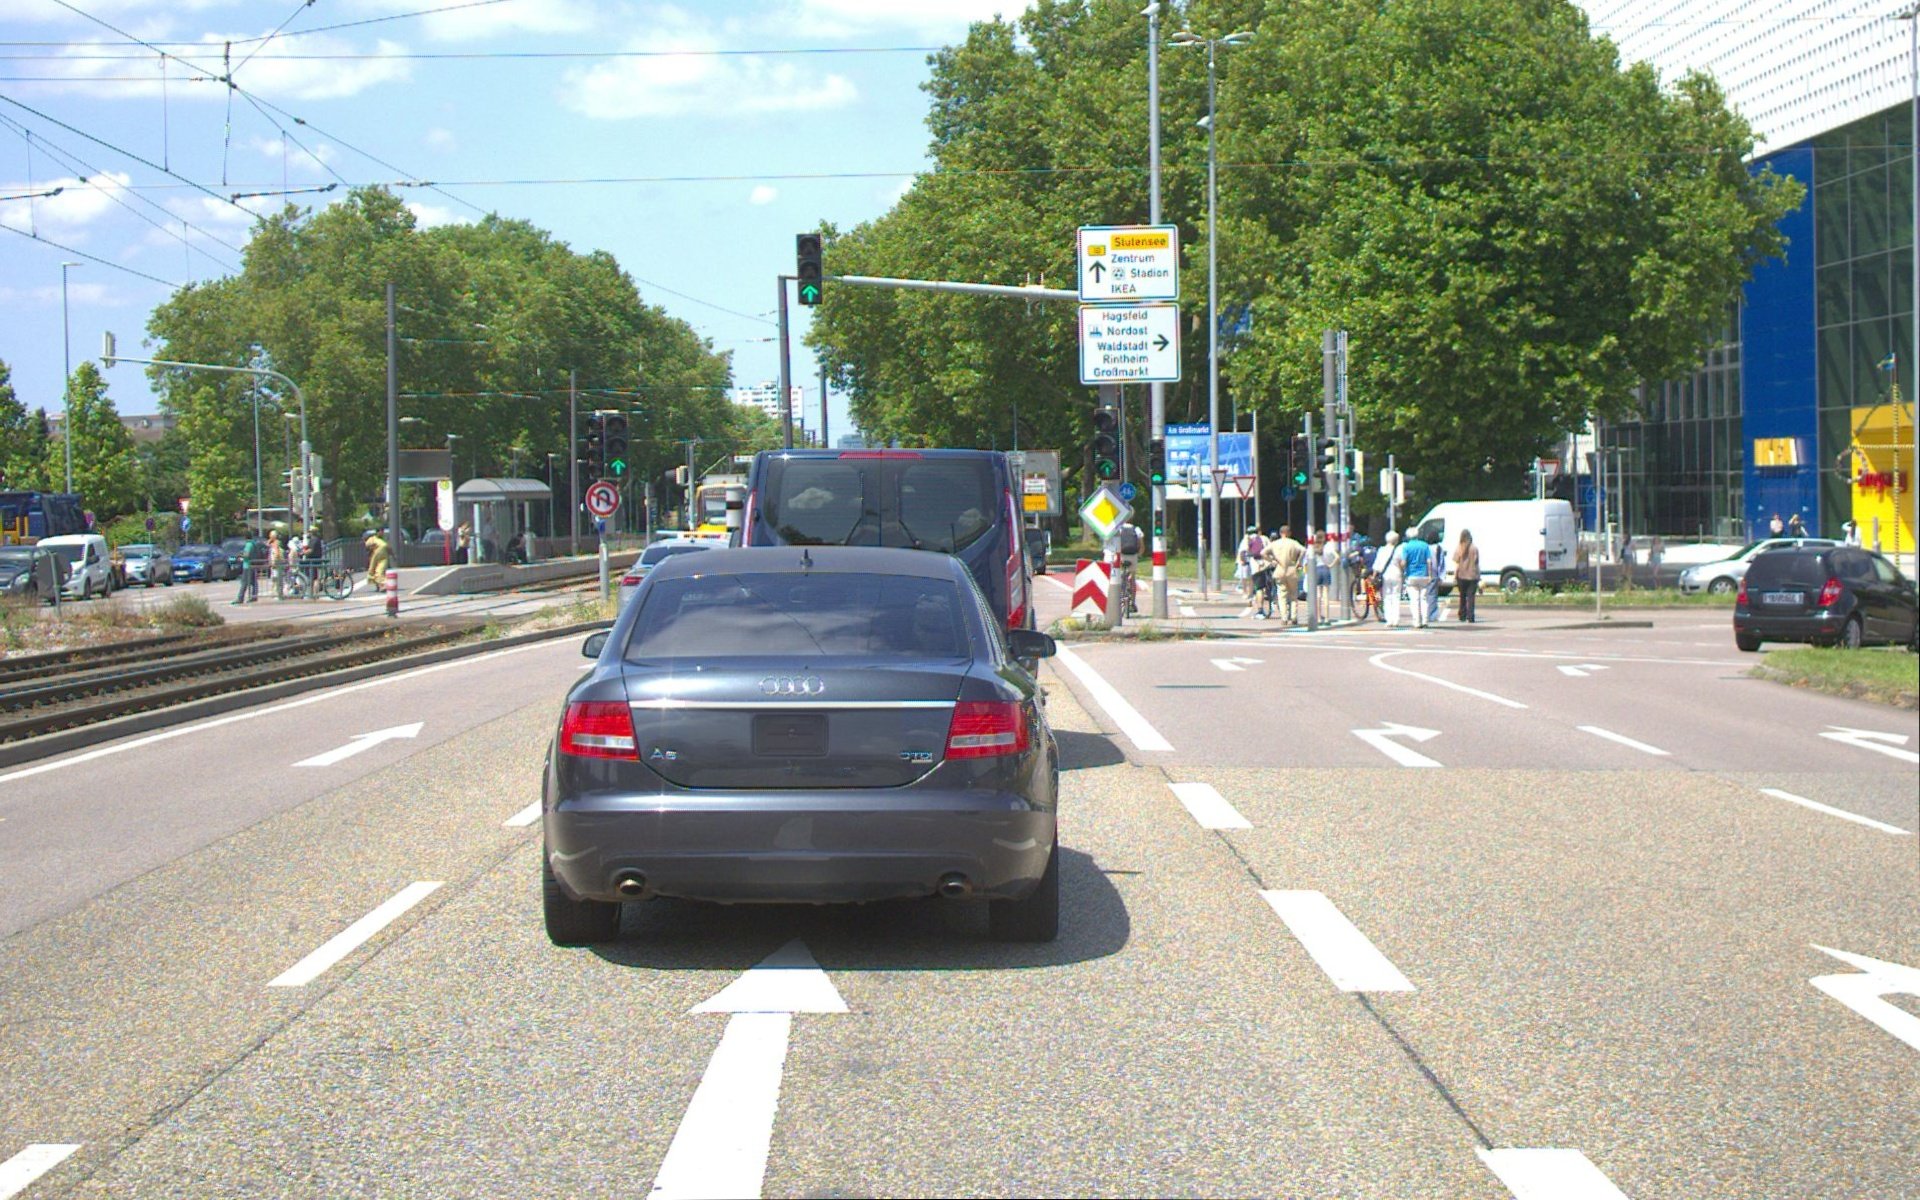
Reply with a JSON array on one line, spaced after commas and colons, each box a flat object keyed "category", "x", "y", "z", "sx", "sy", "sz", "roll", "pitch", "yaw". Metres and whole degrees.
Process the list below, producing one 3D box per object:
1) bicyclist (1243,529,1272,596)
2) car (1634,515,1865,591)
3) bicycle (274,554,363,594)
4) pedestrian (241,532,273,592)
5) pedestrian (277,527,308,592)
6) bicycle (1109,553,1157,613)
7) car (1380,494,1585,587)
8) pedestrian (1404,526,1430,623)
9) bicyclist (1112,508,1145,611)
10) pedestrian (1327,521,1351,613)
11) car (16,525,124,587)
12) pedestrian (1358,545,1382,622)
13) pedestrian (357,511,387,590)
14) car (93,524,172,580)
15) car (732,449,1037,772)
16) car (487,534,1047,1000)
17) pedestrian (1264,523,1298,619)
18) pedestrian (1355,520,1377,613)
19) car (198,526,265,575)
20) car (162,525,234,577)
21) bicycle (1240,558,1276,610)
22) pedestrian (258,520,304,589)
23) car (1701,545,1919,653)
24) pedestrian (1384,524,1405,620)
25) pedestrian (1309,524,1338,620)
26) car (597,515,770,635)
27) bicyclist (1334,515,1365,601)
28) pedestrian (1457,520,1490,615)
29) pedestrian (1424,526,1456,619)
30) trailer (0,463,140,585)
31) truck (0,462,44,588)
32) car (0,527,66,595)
[{"category": "bicyclist", "x": 5.256, "y": -0.665, "z": 60.810, "sx": 0.470, "sy": 1.189, "sz": 0.791, "roll": 0, "pitch": 1, "yaw": 2}, {"category": "car", "x": 16.794, "y": -1.009, "z": 73.302, "sx": 4.498, "sy": 1.481, "sz": 2.000, "roll": 1, "pitch": 1, "yaw": 3}, {"category": "bicycle", "x": -15.234, "y": -0.618, "z": 81.698, "sx": 2.055, "sy": 0.922, "sz": 0.753, "roll": 0, "pitch": 1, "yaw": -10}, {"category": "pedestrian", "x": -16.874, "y": -0.917, "z": 82.487, "sx": 0.685, "sy": 1.438, "sz": 0.573, "roll": 0, "pitch": 1, "yaw": -4}, {"category": "pedestrian", "x": -16.234, "y": -0.987, "z": 83.598, "sx": 0.685, "sy": 1.559, "sz": 0.573, "roll": 0, "pitch": 1, "yaw": -4}, {"category": "bicycle", "x": 3.002, "y": -0.309, "z": 59.917, "sx": 0.688, "sy": 0.990, "sz": 2.752, "roll": 0, "pitch": 1, "yaw": 0}, {"category": "car", "x": 13.264, "y": -1.534, "z": 87.414, "sx": 4.770, "sy": 2.301, "sz": 1.996, "roll": 1, "pitch": 1, "yaw": 38}, {"category": "pedestrian", "x": 7.781, "y": -0.435, "z": 58.514, "sx": 0.398, "sy": 1.629, "sz": 0.371, "roll": 0, "pitch": 1, "yaw": 3}, {"category": "bicyclist", "x": 2.935, "y": -0.710, "z": 59.881, "sx": 0.528, "sy": 1.783, "sz": 1.088, "roll": 0, "pitch": 1, "yaw": 0}, {"category": "pedestrian", "x": 6.683, "y": -0.585, "z": 60.687, "sx": 0.381, "sy": 1.629, "sz": 0.377, "roll": 0, "pitch": 1, "yaw": 3}, {"category": "car", "x": -25.156, "y": -1.255, "z": 97.332, "sx": 1.822, "sy": 1.664, "sz": 4.461, "roll": 1, "pitch": 1, "yaw": 1}, {"category": "pedestrian", "x": 6.986, "y": -0.283, "z": 58.546, "sx": 0.372, "sy": 1.299, "sz": 0.365, "roll": 0, "pitch": 1, "yaw": 3}, {"category": "pedestrian", "x": -14.921, "y": -1.250, "z": 87.270, "sx": 0.685, "sy": 2.007, "sz": 0.573, "roll": 0, "pitch": 1, "yaw": -4}, {"category": "car", "x": -28.478, "y": -1.668, "z": 118.372, "sx": 1.817, "sy": 1.876, "sz": 4.000, "roll": 0, "pitch": 1, "yaw": -1}, {"category": "car", "x": -0.480, "y": 0.030, "z": 22.704, "sx": 1.836, "sy": 1.943, "sz": 4.000, "roll": 0, "pitch": 1, "yaw": -1}, {"category": "car", "x": -0.641, "y": 0.506, "z": 13.208, "sx": 1.792, "sy": 1.450, "sz": 4.000, "roll": -1, "pitch": 2, "yaw": 0}, {"category": "pedestrian", "x": 5.474, "y": -0.501, "z": 58.614, "sx": 0.554, "sy": 1.629, "sz": 0.433, "roll": 0, "pitch": 1, "yaw": 3}, {"category": "pedestrian", "x": 7.162, "y": -0.599, "z": 60.658, "sx": 0.339, "sy": 1.629, "sz": 0.377, "roll": 0, "pitch": 1, "yaw": 3}, {"category": "car", "x": -28.327, "y": -1.937, "z": 133.791, "sx": 1.817, "sy": 1.876, "sz": 4.000, "roll": 0, "pitch": 1, "yaw": -1}, {"category": "car", "x": -28.347, "y": -1.838, "z": 128.019, "sx": 1.817, "sy": 1.876, "sz": 4.000, "roll": 0, "pitch": 1, "yaw": -1}, {"category": "bicycle", "x": 5.247, "y": -0.288, "z": 60.662, "sx": 0.550, "sy": 0.874, "sz": 1.697, "roll": 0, "pitch": 1, "yaw": 2}, {"category": "pedestrian", "x": -16.798, "y": -1.131, "z": 85.117, "sx": 0.824, "sy": 1.714, "sz": 0.774, "roll": 1, "pitch": 1, "yaw": 22}, {"category": "car", "x": 12.778, "y": -0.043, "z": 50.853, "sx": 1.998, "sy": 1.481, "sz": 3.991, "roll": 3, "pitch": 2, "yaw": 37}, {"category": "pedestrian", "x": 7.401, "y": -0.473, "z": 58.540, "sx": 0.320, "sy": 1.629, "sz": 0.377, "roll": 0, "pitch": 1, "yaw": 3}, {"category": "pedestrian", "x": 6.190, "y": -0.475, "z": 58.593, "sx": 0.445, "sy": 1.629, "sz": 0.430, "roll": 0, "pitch": 1, "yaw": 3}, {"category": "car", "x": -3.664, "y": -0.374, "z": 46.138, "sx": 1.993, "sy": 1.481, "sz": 4.000, "roll": 1, "pitch": 2, "yaw": 0}, {"category": "bicyclist", "x": 8.002, "y": -0.866, "z": 70.648, "sx": 0.529, "sy": 1.758, "sz": 0.827, "roll": 0, "pitch": 1, "yaw": 13}, {"category": "pedestrian", "x": 9.063, "y": -0.569, "z": 60.664, "sx": 0.521, "sy": 1.664, "sz": 0.494, "roll": 0, "pitch": 1, "yaw": 3}, {"category": "pedestrian", "x": 8.478, "y": -0.485, "z": 60.733, "sx": 0.504, "sy": 1.629, "sz": 0.449, "roll": 0, "pitch": 1, "yaw": 3}, {"category": "trailer", "x": -28.647, "y": -2.361, "z": 106.710, "sx": 2.767, "sy": 3.506, "sz": 15.879, "roll": 0, "pitch": 1, "yaw": -1}, {"category": "truck", "x": -28.545, "y": -2.161, "z": 98.864, "sx": 2.767, "sy": 3.557, "sz": 6.440, "roll": 0, "pitch": 1, "yaw": -1}, {"category": "car", "x": -24.861, "y": -1.038, "z": 89.879, "sx": 1.822, "sy": 1.664, "sz": 4.462, "roll": 1, "pitch": 1, "yaw": 0}]
